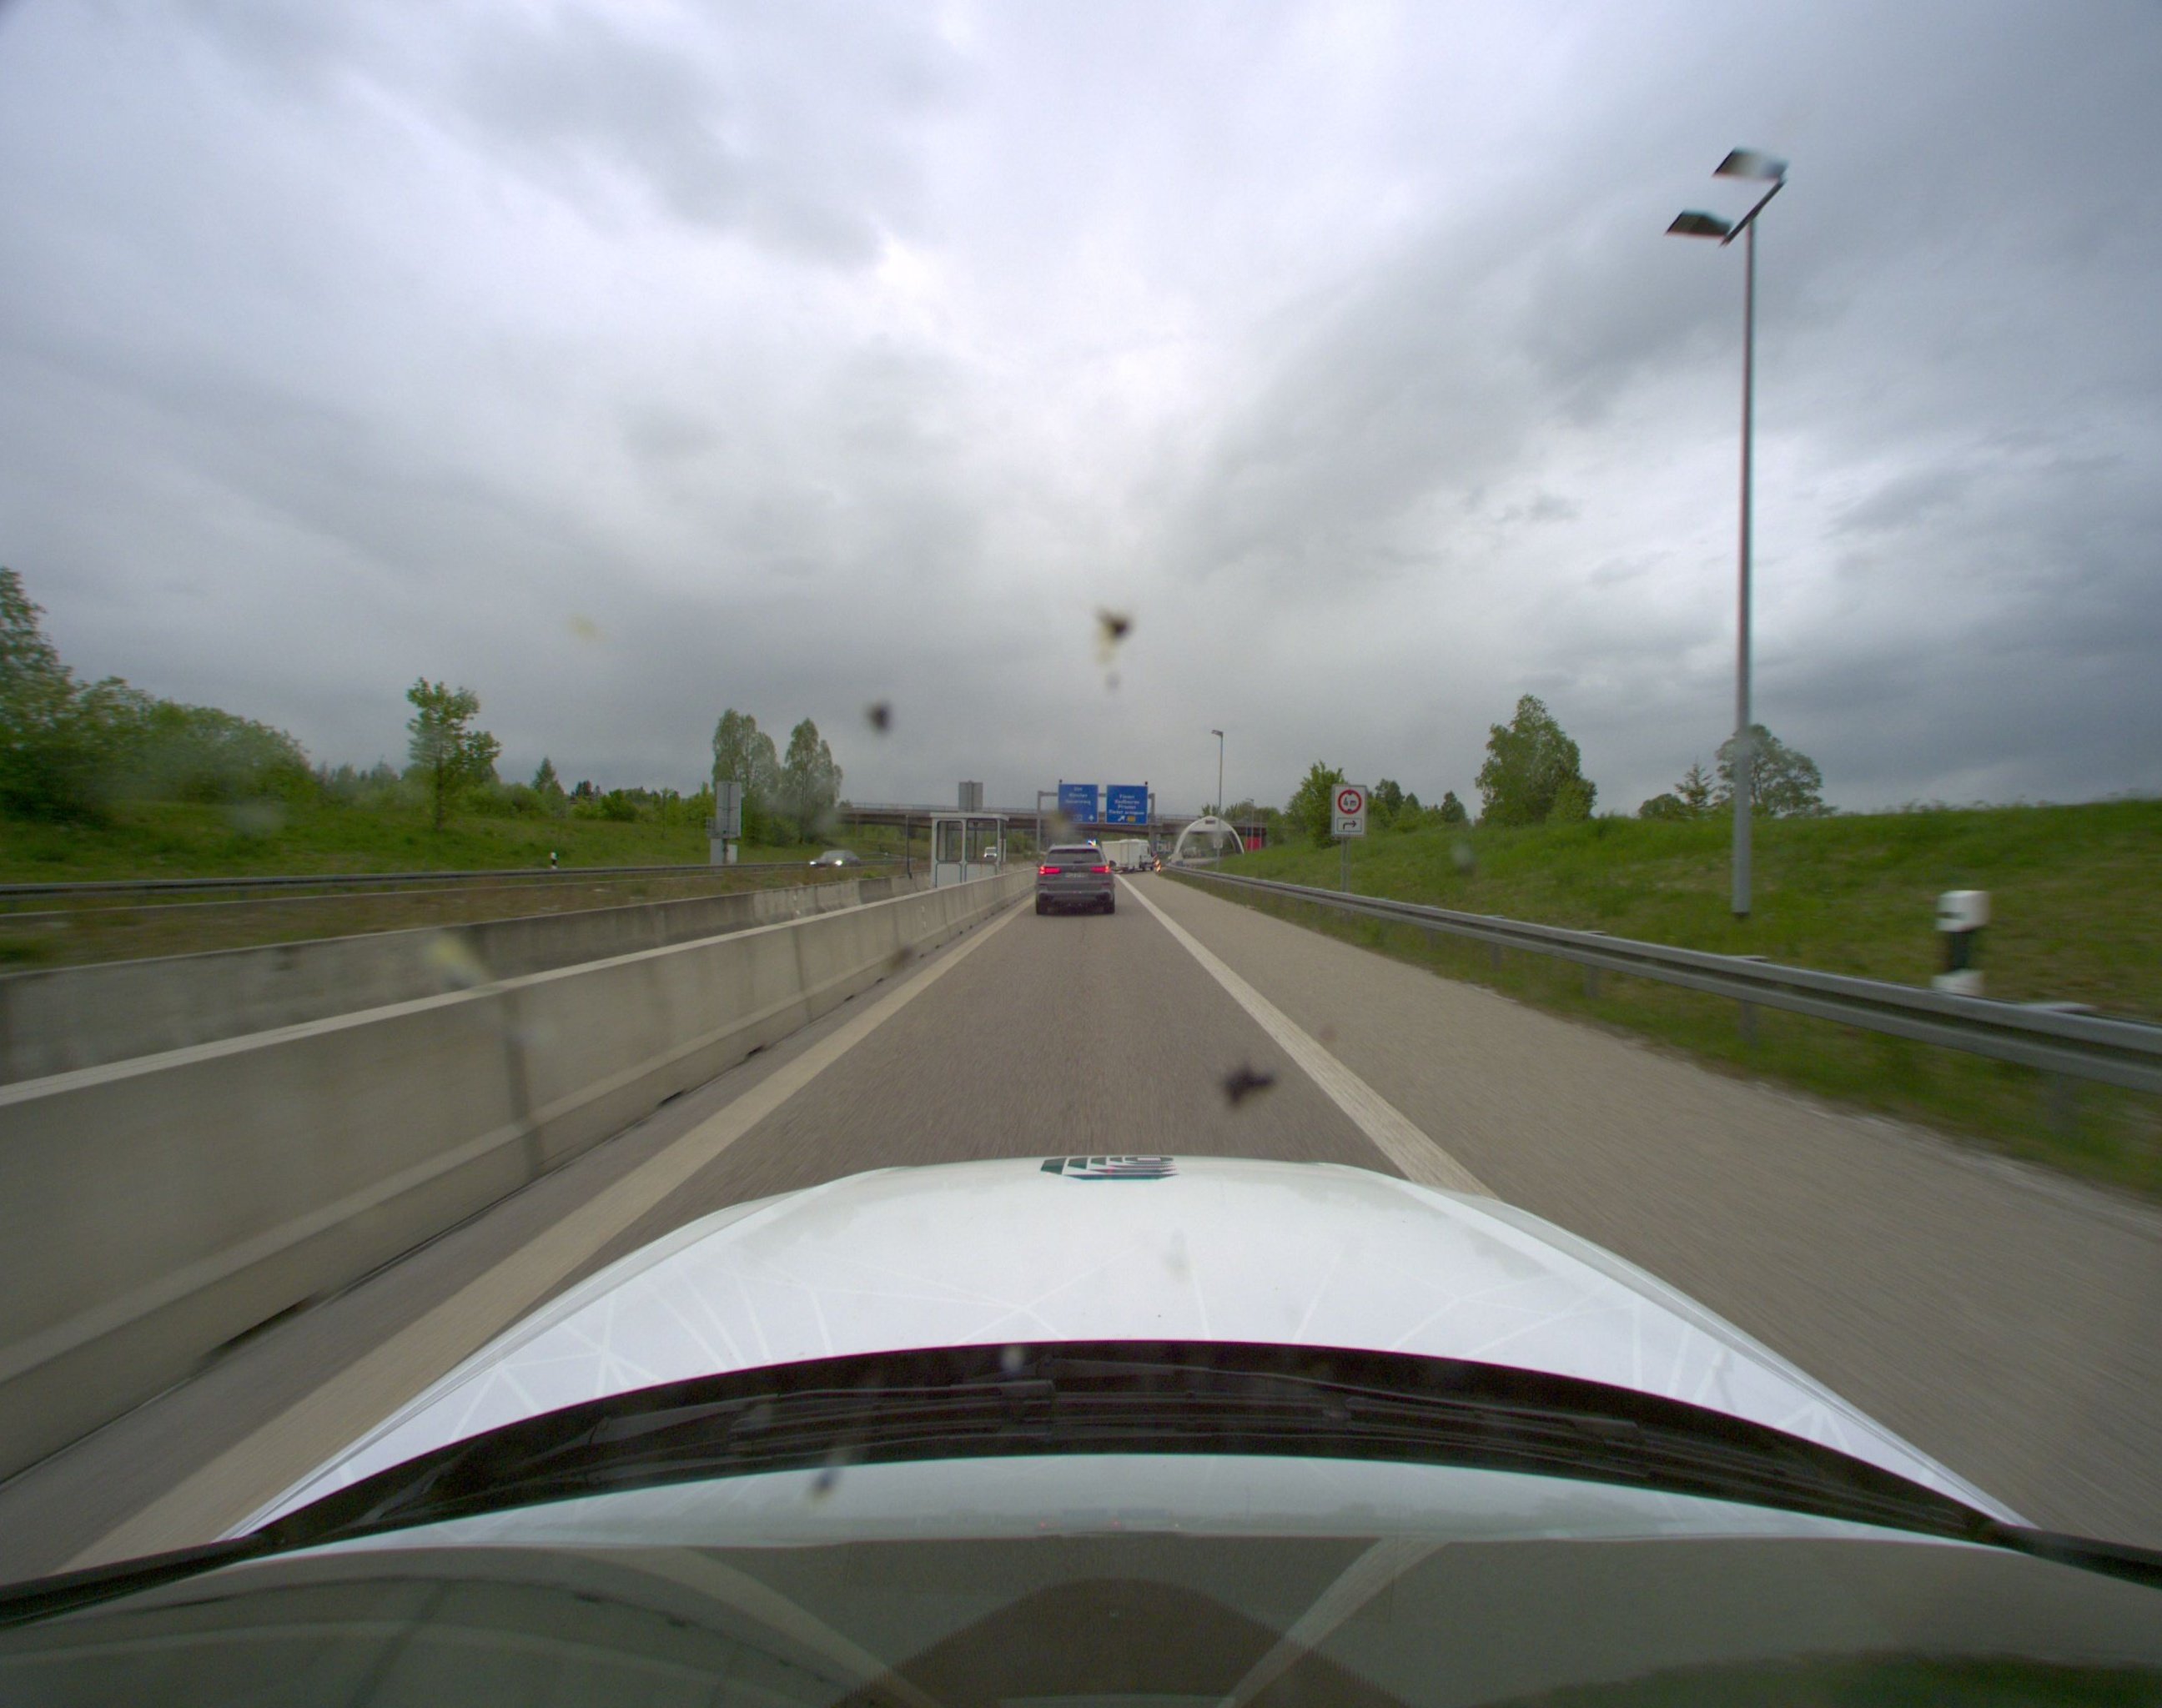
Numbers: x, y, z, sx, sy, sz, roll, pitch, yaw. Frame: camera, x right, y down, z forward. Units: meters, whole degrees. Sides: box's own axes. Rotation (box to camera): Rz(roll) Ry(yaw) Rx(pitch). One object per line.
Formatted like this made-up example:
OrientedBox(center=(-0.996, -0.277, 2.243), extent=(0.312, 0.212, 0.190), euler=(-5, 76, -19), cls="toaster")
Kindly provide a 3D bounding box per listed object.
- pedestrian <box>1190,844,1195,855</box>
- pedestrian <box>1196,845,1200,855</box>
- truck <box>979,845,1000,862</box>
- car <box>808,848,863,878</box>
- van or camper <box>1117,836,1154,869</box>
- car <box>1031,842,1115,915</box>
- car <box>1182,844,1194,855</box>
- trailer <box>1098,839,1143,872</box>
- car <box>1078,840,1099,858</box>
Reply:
OrientedBox(center=(19.548, -0.772, 142.934), extent=(0.716, 1.775, 0.691), euler=(-1, 0, 5), cls="pedestrian")
OrientedBox(center=(20.681, -0.760, 143.739), extent=(0.645, 1.775, 0.606), euler=(-1, 0, 3), cls="pedestrian")
OrientedBox(center=(-13.378, -0.073, 119.630), extent=(2.349, 2.479, 5.988), euler=(0, 0, 0), cls="truck")
OrientedBox(center=(-13.618, 0.494, 45.435), extent=(1.696, 1.575, 4.178), euler=(0, 0, 1), cls="car")
OrientedBox(center=(4.774, -0.097, 70.345), extent=(2.141, 2.763, 5.894), euler=(-1, 0, 15), cls="van or camper")
OrientedBox(center=(-0.148, 0.583, 21.401), extent=(1.986, 1.719, 4.001), euler=(-1, 0, 1), cls="car")
OrientedBox(center=(18.472, -0.769, 140.666), extent=(1.984, 1.772, 3.771), euler=(-1, 0, 5), cls="car")
OrientedBox(center=(3.192, 0.107, 64.111), extent=(2.263, 2.430, 6.843), euler=(-1, 0, 14), cls="trailer")
OrientedBox(center=(0.835, -0.625, 94.884), extent=(2.279, 2.013, 5.049), euler=(0, 1, 0), cls="car")
